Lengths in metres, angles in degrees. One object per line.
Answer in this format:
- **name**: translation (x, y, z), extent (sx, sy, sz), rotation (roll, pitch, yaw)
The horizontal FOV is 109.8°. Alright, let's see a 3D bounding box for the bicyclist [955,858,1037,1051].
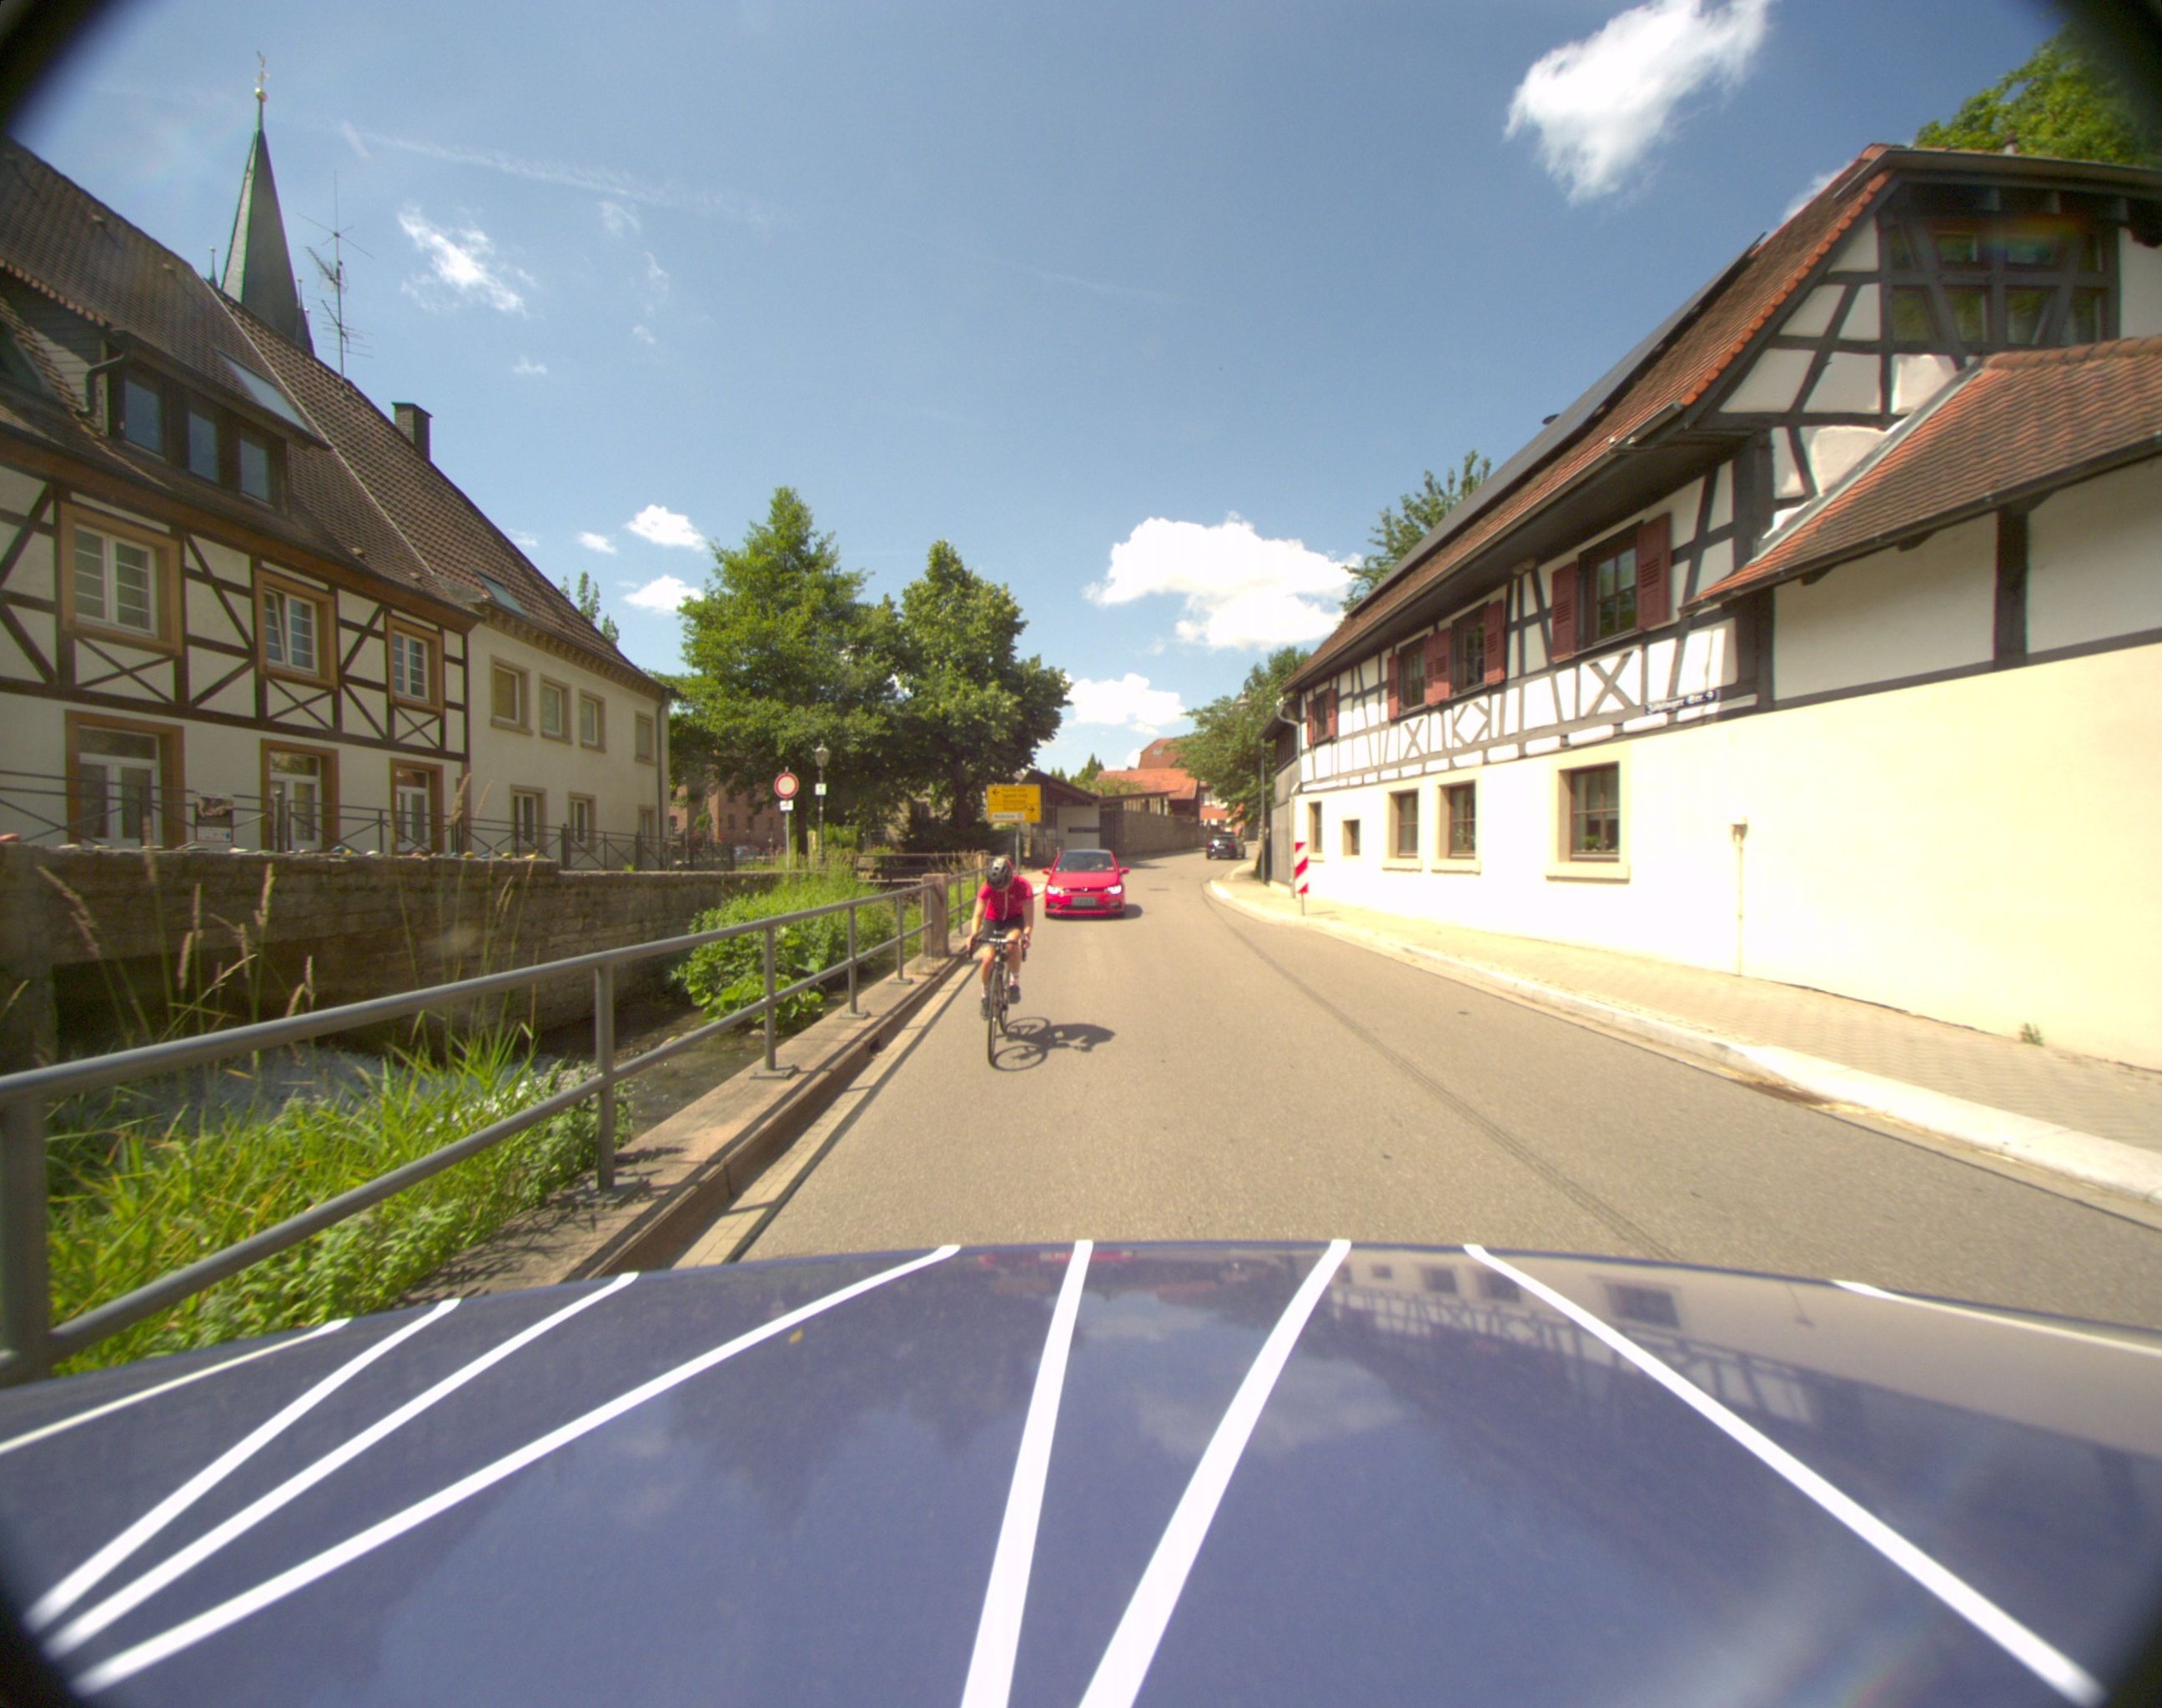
- **bicyclist**: translation (-0.634, 0.728, 5.871), extent (0.532, 1.396, 0.755), rotation (0, 0, 1)

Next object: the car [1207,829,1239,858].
- **car**: translation (8.495, -0.671, 45.222), extent (1.701, 1.458, 4.436), rotation (1, 4, 12)

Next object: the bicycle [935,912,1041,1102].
- **bicycle**: translation (-0.651, 1.063, 5.911), extent (0.531, 1.070, 2.054), rotation (0, 0, 1)

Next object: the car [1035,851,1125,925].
- **car**: translation (0.085, 0.665, 16.677), extent (1.669, 1.344, 3.494), rotation (-2, 1, 4)
